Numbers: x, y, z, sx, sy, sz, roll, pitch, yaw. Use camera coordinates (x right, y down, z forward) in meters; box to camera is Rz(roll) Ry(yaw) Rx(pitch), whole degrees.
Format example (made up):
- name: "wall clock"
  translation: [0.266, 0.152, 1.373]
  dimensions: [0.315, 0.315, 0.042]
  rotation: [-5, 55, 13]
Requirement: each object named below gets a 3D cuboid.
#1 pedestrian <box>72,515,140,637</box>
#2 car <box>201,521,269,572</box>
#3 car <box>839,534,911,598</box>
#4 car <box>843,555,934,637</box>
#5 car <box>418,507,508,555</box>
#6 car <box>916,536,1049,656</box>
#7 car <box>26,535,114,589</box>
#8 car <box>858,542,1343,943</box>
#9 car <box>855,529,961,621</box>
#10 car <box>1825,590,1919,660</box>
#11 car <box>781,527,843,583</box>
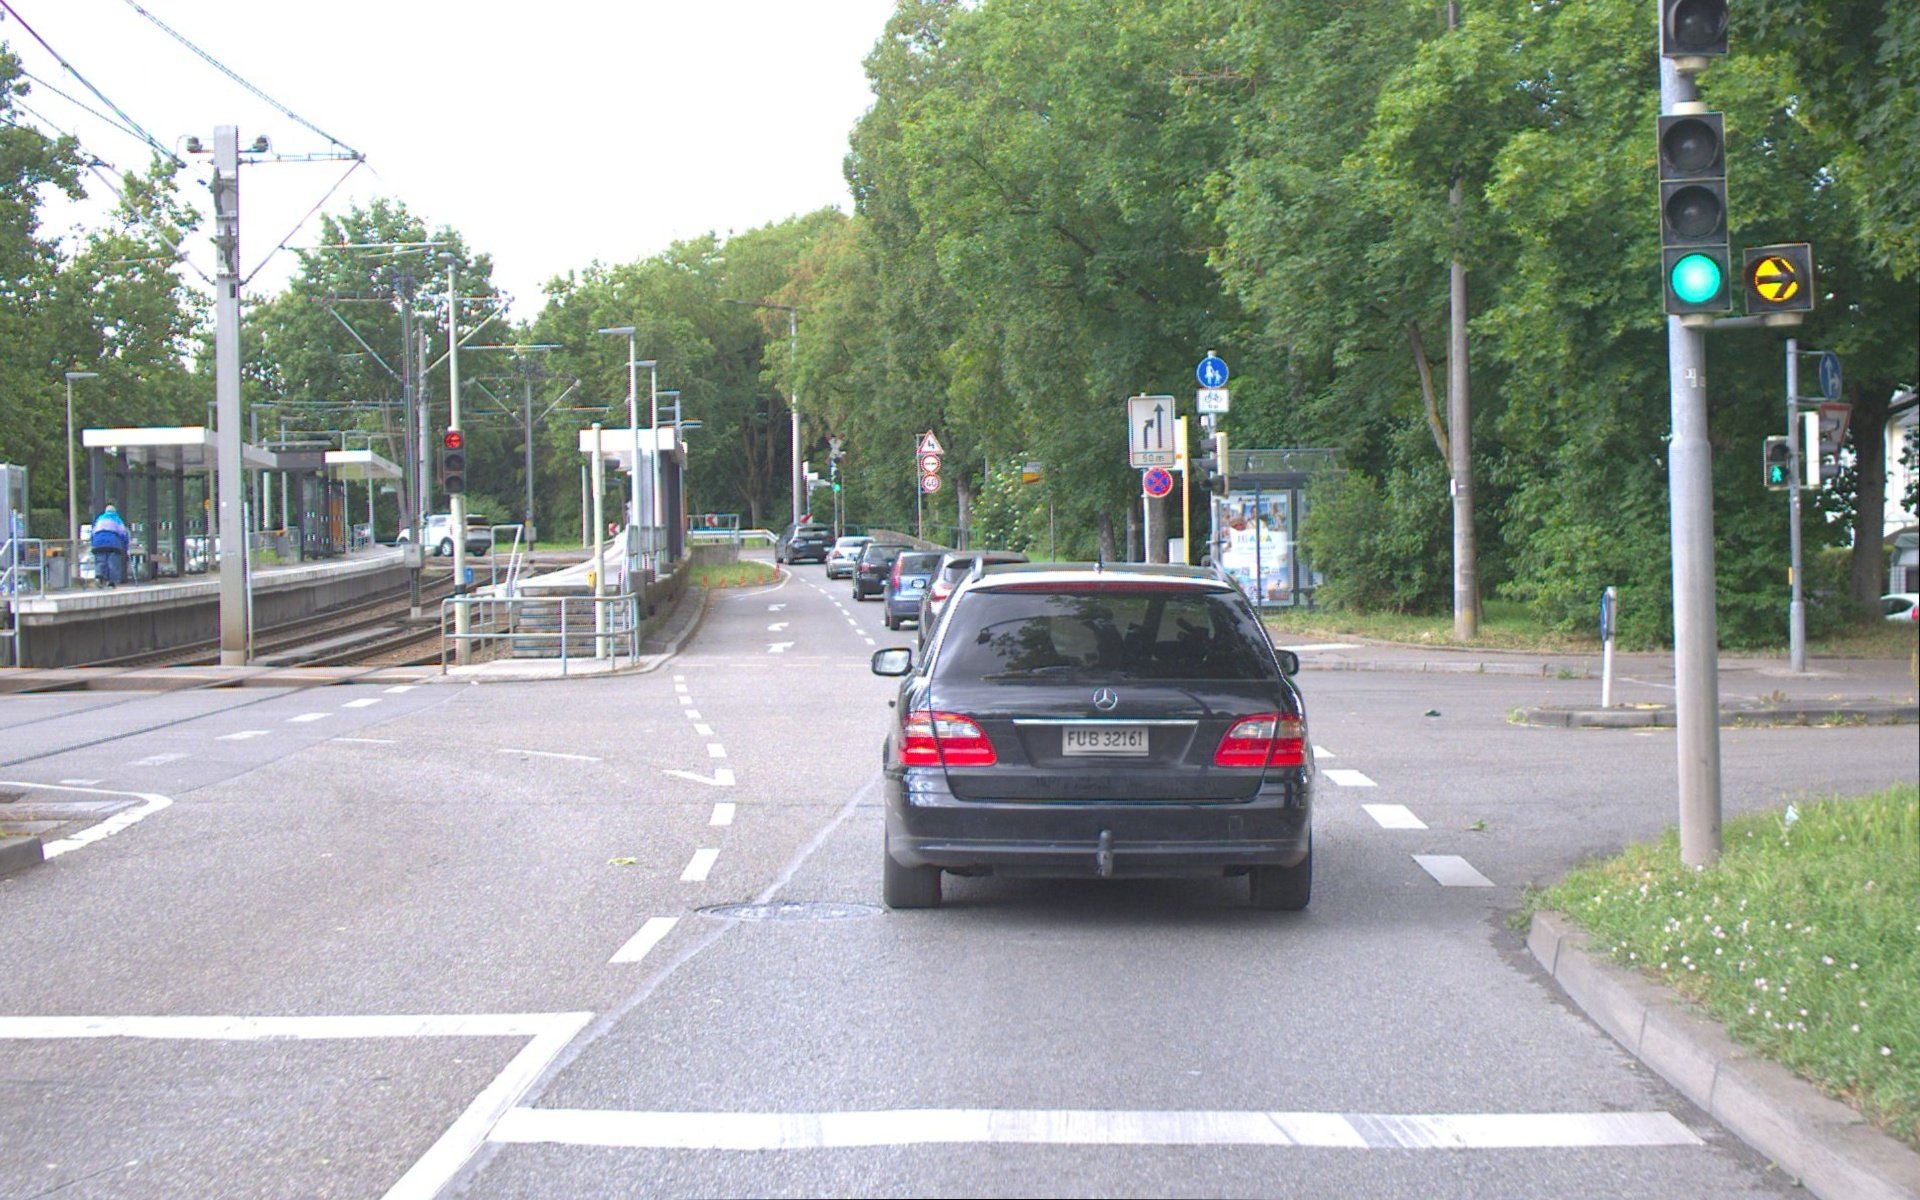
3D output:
- name: "pedestrian"
  translation: [-15.483, -0.446, 62.348]
  dimensions: [0.969, 2.178, 0.976]
  rotation: [-1, 1, -2]
- name: "car"
  translation: [-26.118, -1.912, 123.969]
  dimensions: [1.710, 1.745, 4.400]
  rotation: [-2, 0, -4]
- name: "car"
  translation: [-2.620, -1.040, 105.128]
  dimensions: [1.993, 1.886, 4.001]
  rotation: [1, 0, -4]
- name: "car"
  translation: [-1.769, -0.097, 83.792]
  dimensions: [1.993, 1.911, 4.001]
  rotation: [1, 0, -4]
- name: "car"
  translation: [-21.756, -3.008, 150.463]
  dimensions: [1.994, 2.007, 3.998]
  rotation: [1, 0, -42]
- name: "car"
  translation: [0.362, -0.059, 49.694]
  dimensions: [1.782, 1.642, 4.000]
  rotation: [1, 0, 2]
- name: "car"
  translation: [-25.430, -1.075, 98.353]
  dimensions: [1.685, 1.441, 4.001]
  rotation: [-3, 0, -4]
- name: "car"
  translation: [0.488, 0.524, 15.367]
  dimensions: [1.781, 1.520, 4.001]
  rotation: [1, 1, -3]
- name: "car"
  translation: [-0.951, -0.460, 64.760]
  dimensions: [1.782, 1.642, 4.000]
  rotation: [1, 0, 2]
- name: "car"
  translation: [19.226, 0.503, 70.053]
  dimensions: [1.478, 1.381, 3.841]
  rotation: [1, 0, -14]
- name: "car"
  translation: [-5.371, -1.601, 124.197]
  dimensions: [1.993, 1.960, 4.001]
  rotation: [1, 0, -5]
